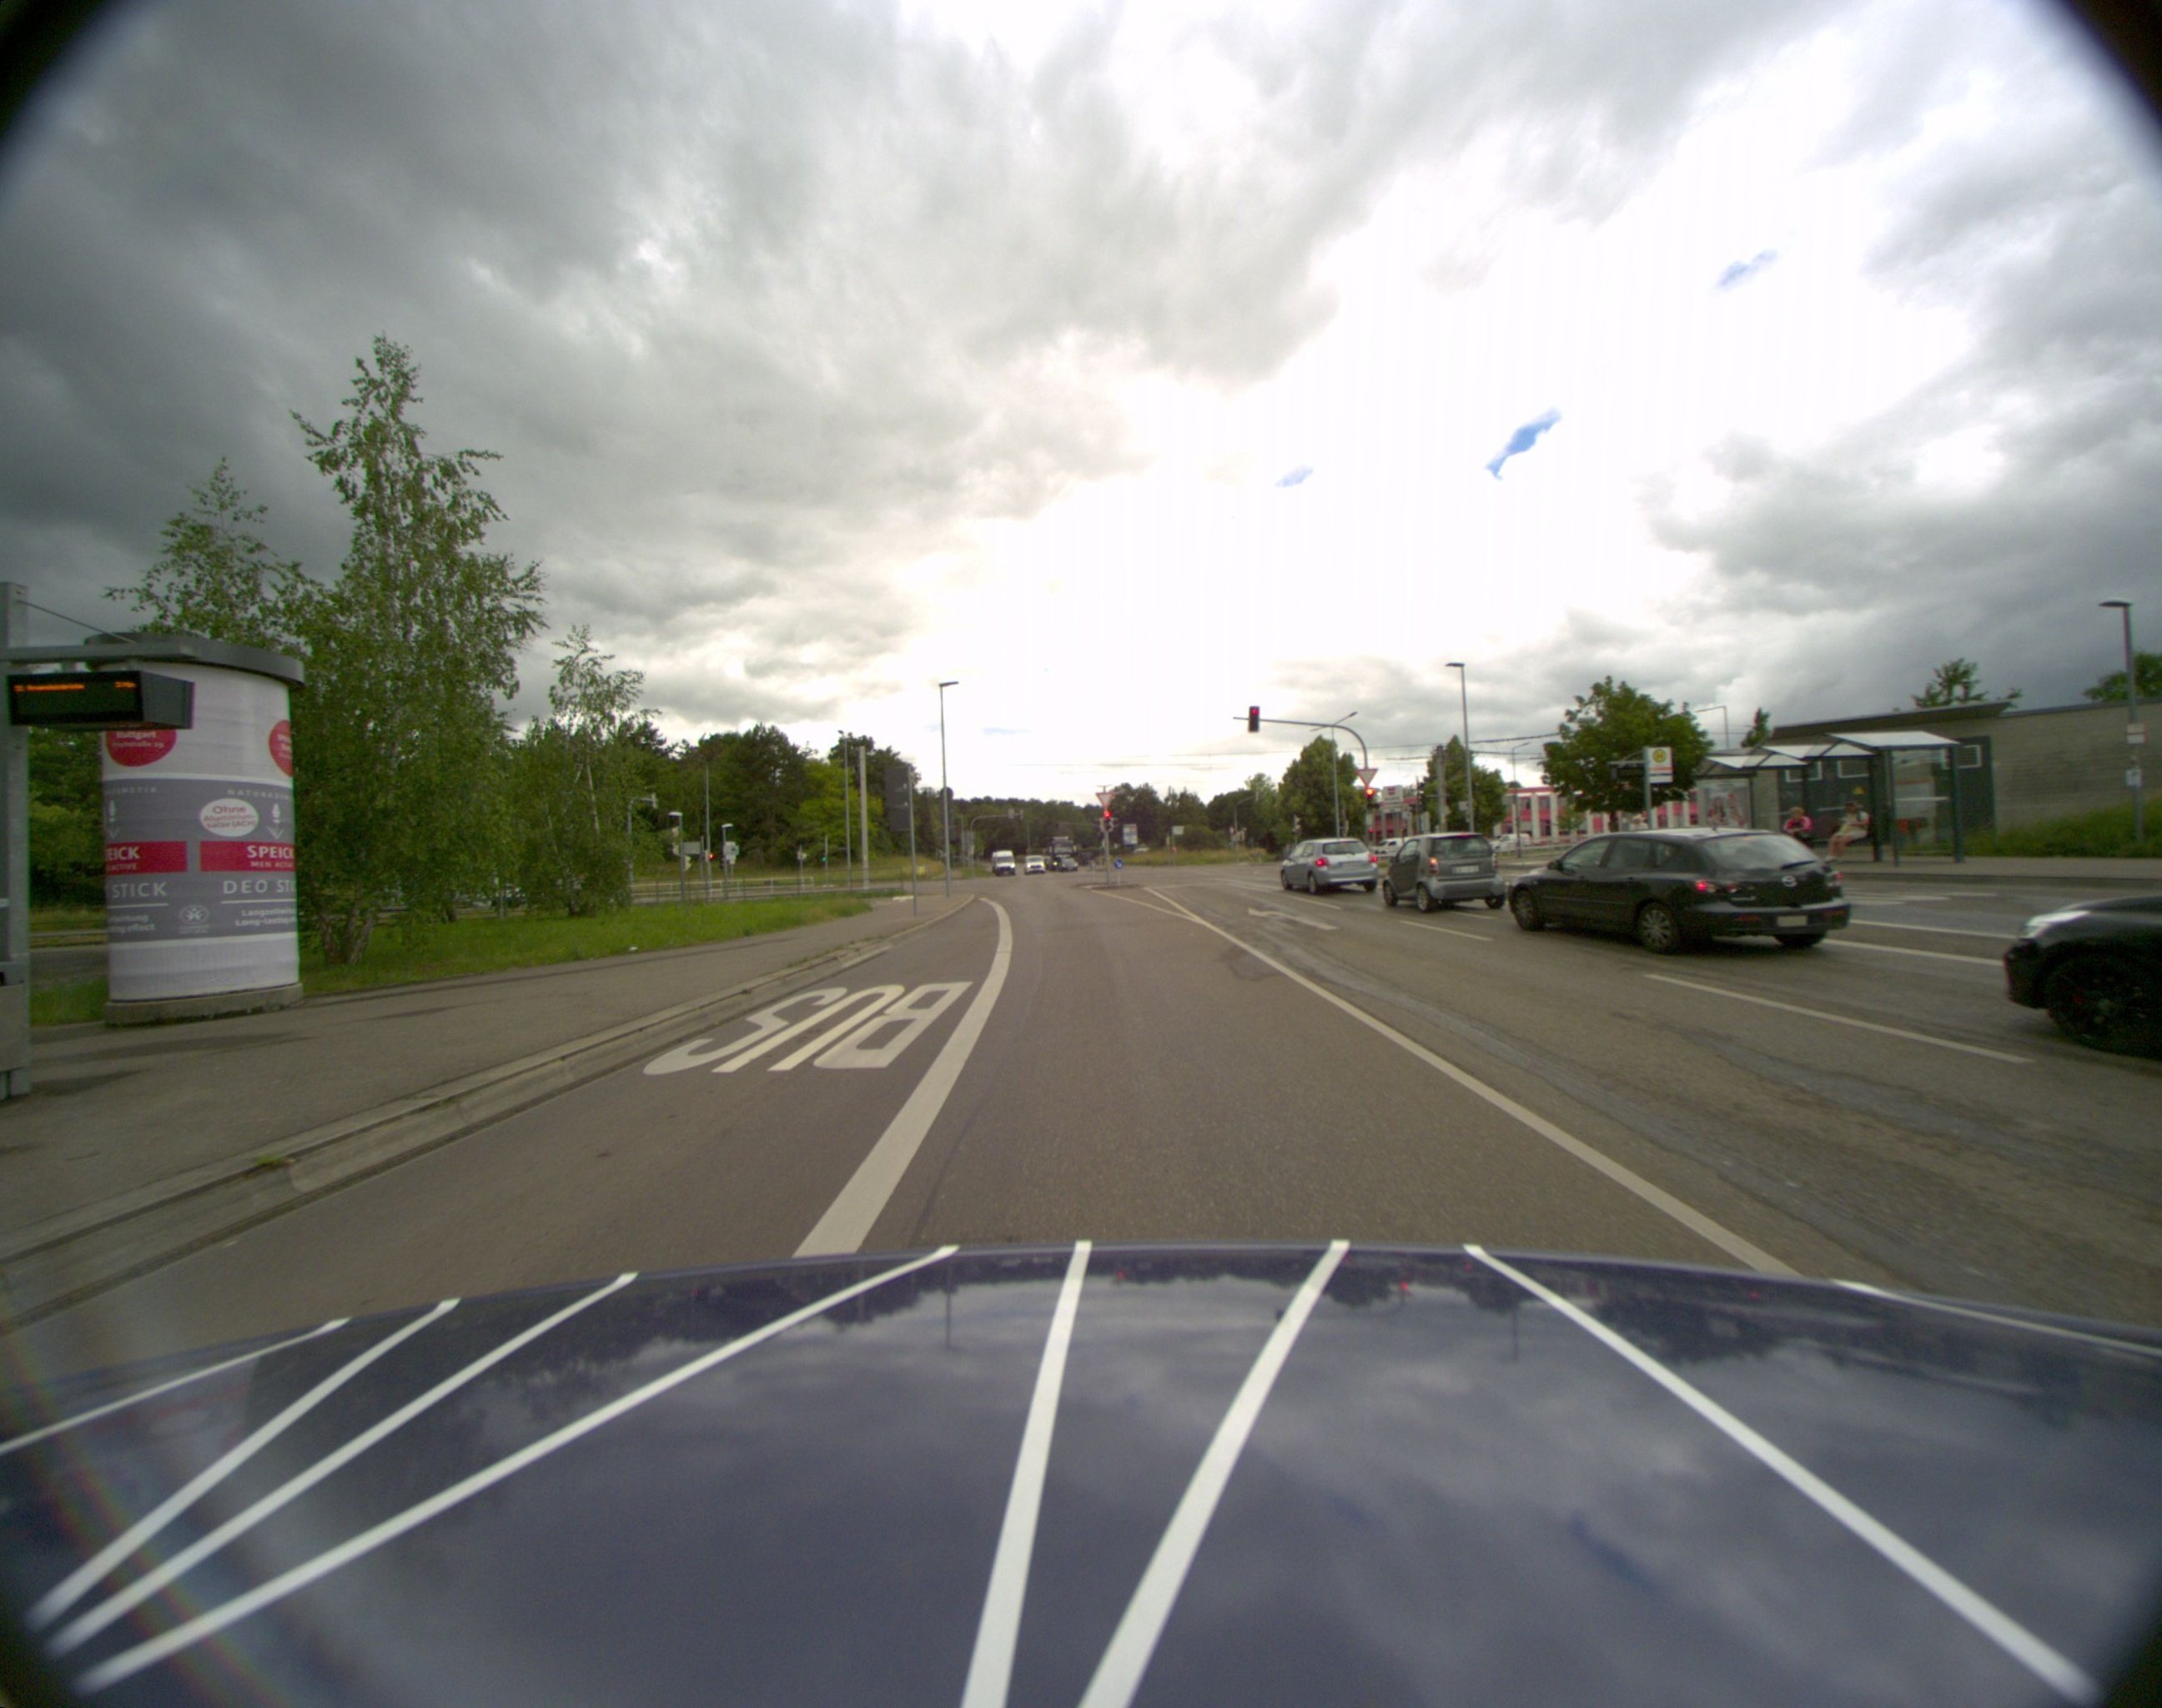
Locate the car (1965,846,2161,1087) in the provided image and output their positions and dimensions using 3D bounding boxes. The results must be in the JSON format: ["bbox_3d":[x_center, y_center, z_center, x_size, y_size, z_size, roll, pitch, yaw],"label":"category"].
[{"bbox_3d":[6.862,0.634,3.204,1.643,1.324,4.061,-2,0,3],"label":"car"}]

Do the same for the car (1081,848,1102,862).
[{"bbox_3d":[1.454,0.142,107.248,1.997,1.865,4.895,-3,0,11],"label":"car"}]

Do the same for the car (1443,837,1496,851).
[{"bbox_3d":[37.790,-0.976,73.942,4.220,1.333,1.814,1,0,-4],"label":"car"}]

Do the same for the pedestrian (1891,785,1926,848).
[{"bbox_3d":[22.455,-1.010,20.635,0.549,1.660,0.430,-2,1,39],"label":"pedestrian"}]

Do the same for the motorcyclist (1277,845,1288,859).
[{"bbox_3d":[20.289,-0.184,76.507,0.815,1.413,0.761,-3,-1,25],"label":"motorcyclist"}]

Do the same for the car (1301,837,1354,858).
[{"bbox_3d":[22.763,-0.615,70.337,4.221,1.769,1.814,-3,0,-7],"label":"car"}]

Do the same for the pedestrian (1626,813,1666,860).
[{"bbox_3d":[16.656,-0.509,22.412,0.550,1.355,0.774,-3,0,-5],"label":"pedestrian"}]

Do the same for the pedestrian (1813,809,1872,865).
[{"bbox_3d":[17.339,-0.374,17.316,0.774,1.220,0.550,-3,0,-5],"label":"pedestrian"}]

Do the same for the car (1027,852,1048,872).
[{"bbox_3d":[-4.690,0.835,81.775,2.120,1.979,4.986,-5,0,-4],"label":"car"}]

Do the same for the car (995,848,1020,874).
[{"bbox_3d":[-7.927,0.740,81.386,2.228,2.643,5.956,-4,0,-8],"label":"car"}]

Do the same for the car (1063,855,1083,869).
[{"bbox_3d":[-0.896,0.828,80.114,1.636,1.433,3.864,-3,0,-7],"label":"car"}]

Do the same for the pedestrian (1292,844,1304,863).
[{"bbox_3d":[17.493,-0.053,61.345,0.670,1.521,0.715,-3,0,-5],"label":"pedestrian"}]

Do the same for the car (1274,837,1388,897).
[{"bbox_3d":[7.157,0.343,22.209,1.832,1.527,4.219,-2,0,-1],"label":"car"}]

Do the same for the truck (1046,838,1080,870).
[{"bbox_3d":[-2.184,0.012,88.787,3.074,3.497,5.956,-4,0,-8],"label":"truck"}]

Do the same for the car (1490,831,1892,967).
[{"bbox_3d":[7.397,0.449,9.945,1.804,1.324,4.380,-2,0,2],"label":"car"}]

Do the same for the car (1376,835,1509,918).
[{"bbox_3d":[7.361,0.425,15.741,1.432,1.518,2.775,-2,0,1],"label":"car"}]

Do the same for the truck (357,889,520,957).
[{"bbox_3d":[-34.903,3.678,41.538,6.279,2.994,2.107,-3,4,-22],"label":"truck"}]

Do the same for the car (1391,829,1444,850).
[{"bbox_3d":[33.829,-1.438,76.391,4.455,1.894,2.183,1,0,-12],"label":"car"}]

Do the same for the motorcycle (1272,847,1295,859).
[{"bbox_3d":[20.389,-0.075,76.460,2.064,1.084,0.761,-3,-1,25],"label":"motorcycle"}]

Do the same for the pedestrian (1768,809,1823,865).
[{"bbox_3d":[17.405,-0.409,18.517,0.774,1.322,0.550,-3,0,-5],"label":"pedestrian"}]

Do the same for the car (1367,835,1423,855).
[{"bbox_3d":[30.034,-0.886,72.765,4.697,1.781,1.813,-2,0,-11],"label":"car"}]
